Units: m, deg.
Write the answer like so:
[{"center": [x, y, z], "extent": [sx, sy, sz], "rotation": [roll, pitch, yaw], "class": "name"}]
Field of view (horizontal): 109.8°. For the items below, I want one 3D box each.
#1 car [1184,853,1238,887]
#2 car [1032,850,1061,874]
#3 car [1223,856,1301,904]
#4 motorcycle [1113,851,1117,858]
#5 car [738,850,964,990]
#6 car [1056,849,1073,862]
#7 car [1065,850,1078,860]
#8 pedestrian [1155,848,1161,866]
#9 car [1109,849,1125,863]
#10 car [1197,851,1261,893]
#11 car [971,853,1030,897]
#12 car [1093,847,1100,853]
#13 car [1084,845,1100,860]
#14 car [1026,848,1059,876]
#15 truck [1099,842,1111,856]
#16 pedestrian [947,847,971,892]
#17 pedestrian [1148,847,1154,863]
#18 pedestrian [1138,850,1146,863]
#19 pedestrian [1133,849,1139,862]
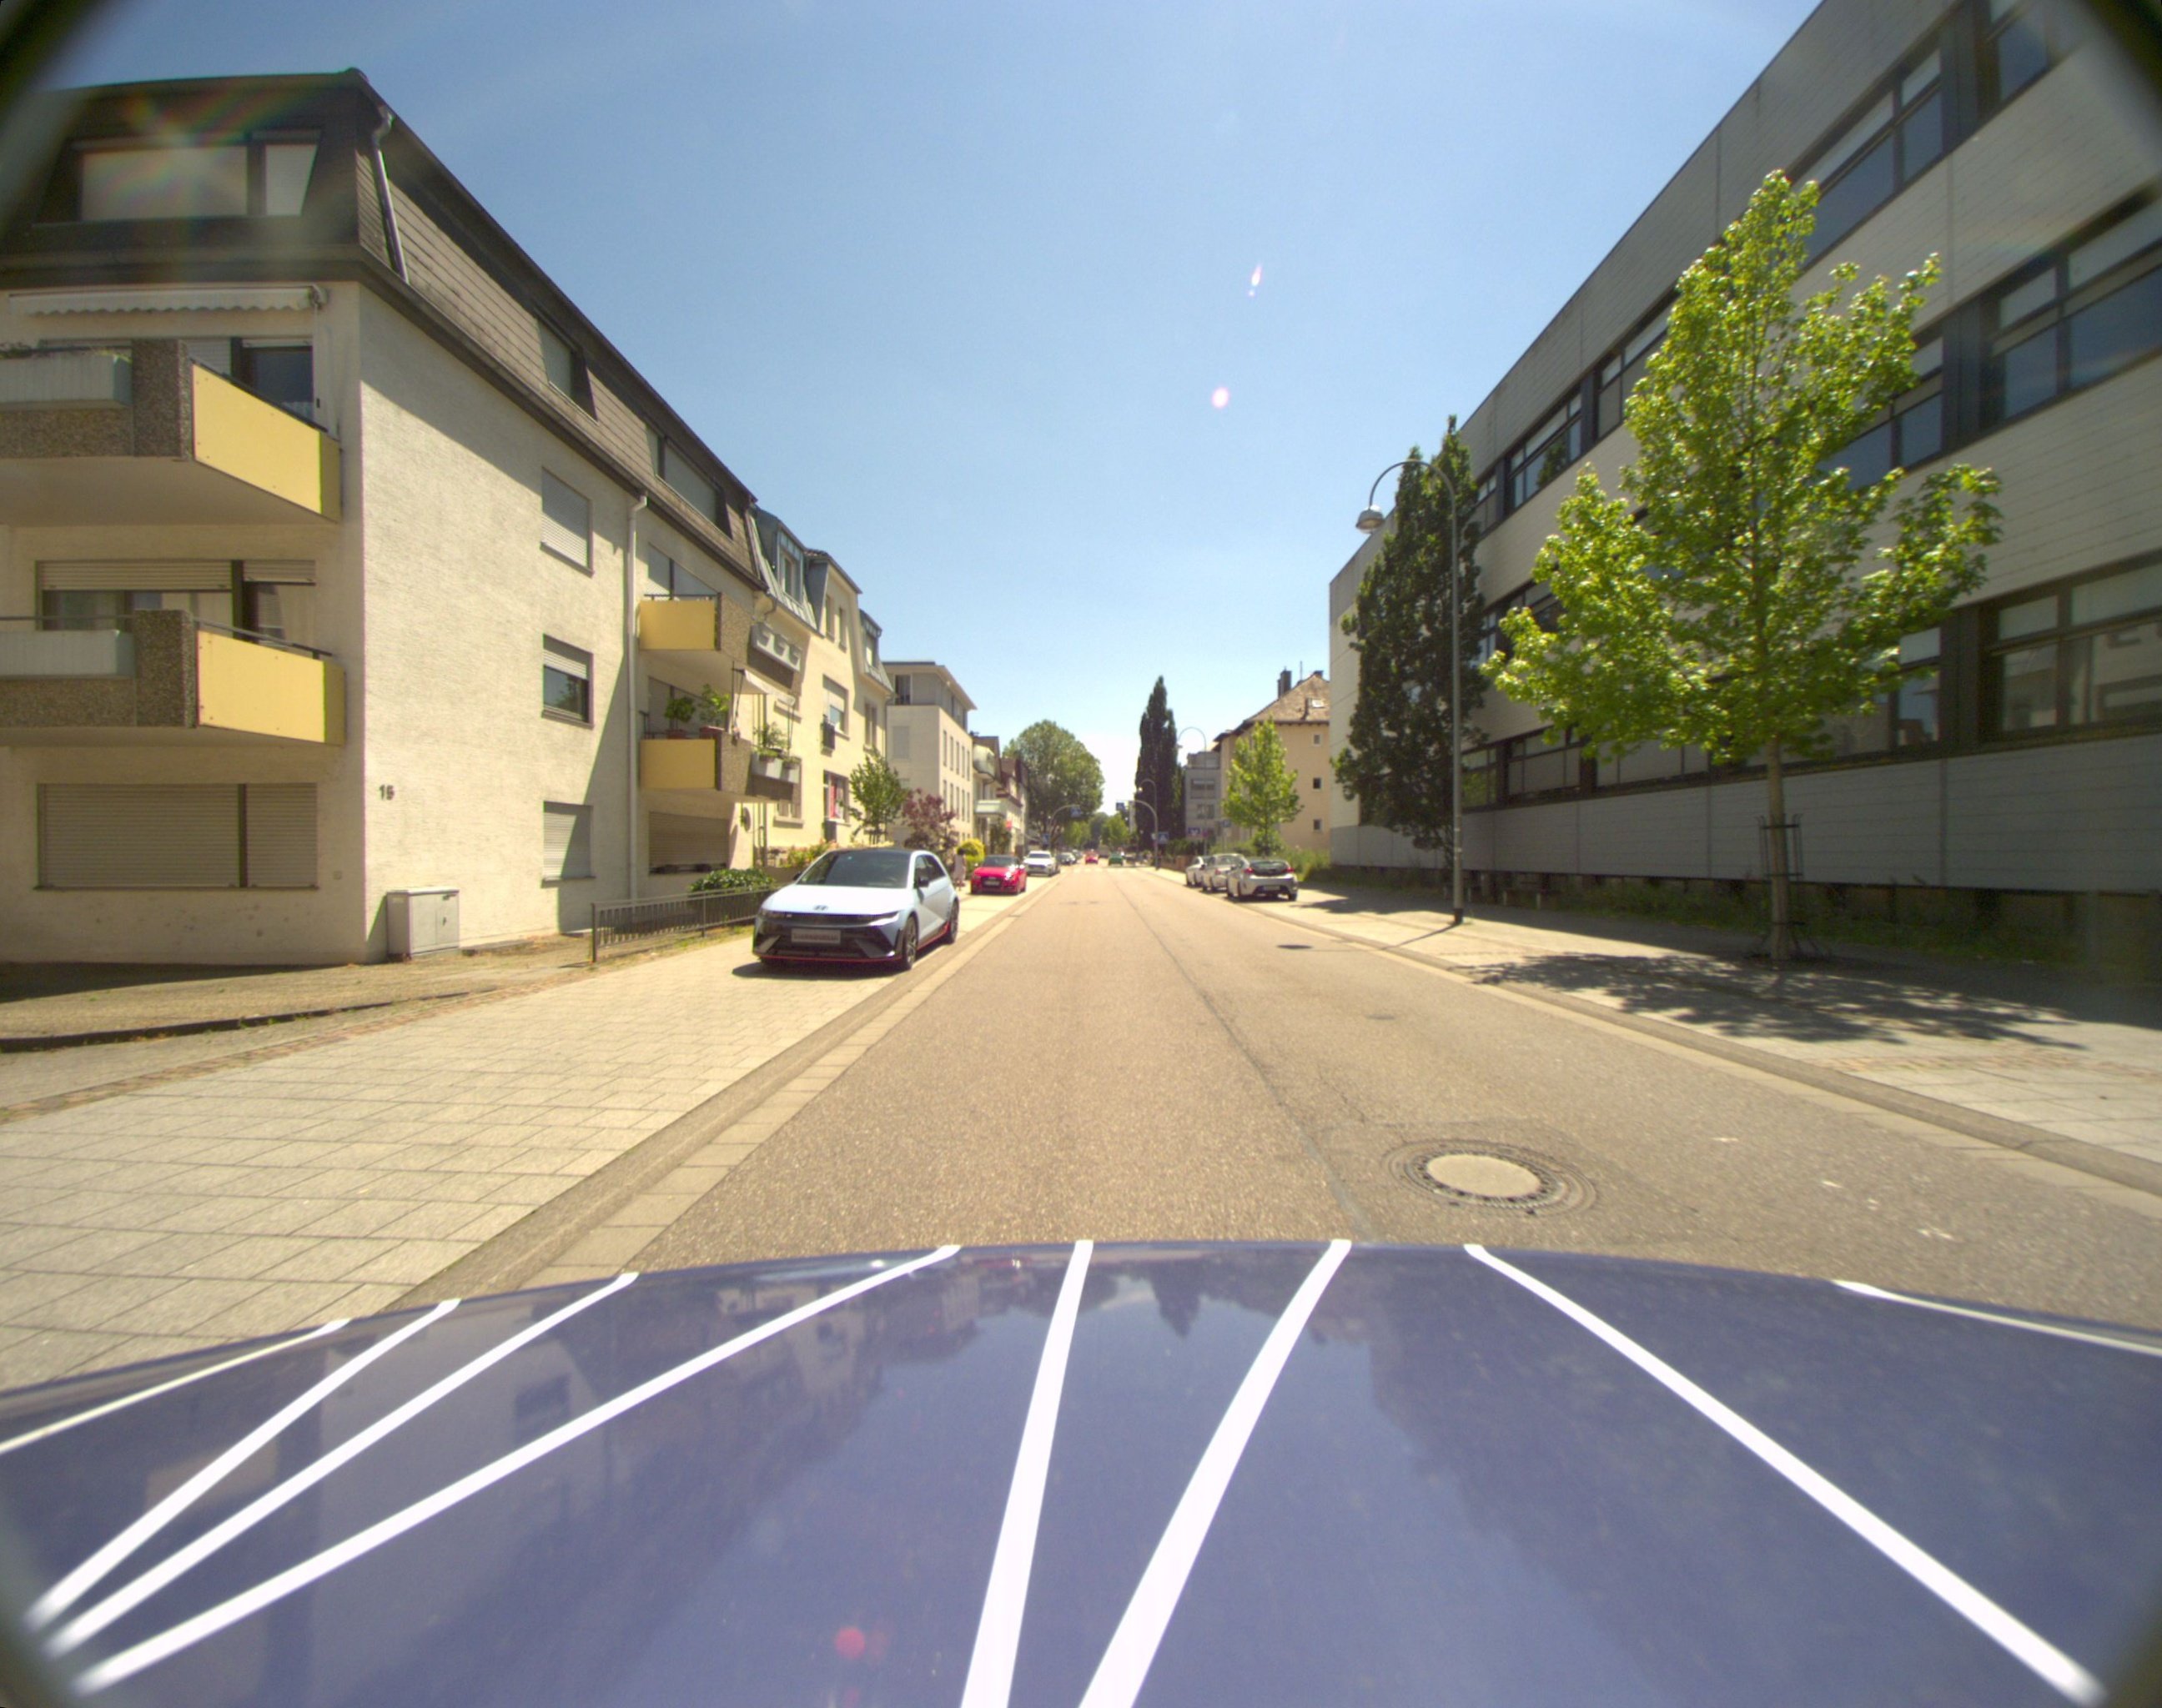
[{"center": [6.057, 0.695, 35.898], "extent": [1.827, 1.403, 4.577], "rotation": [-2, 0, 1], "class": "car"}, {"center": [-2.431, 0.546, 54.478], "extent": [1.709, 1.547, 4.748], "rotation": [3, 0, 1], "class": "car"}, {"center": [5.898, 0.806, 25.219], "extent": [1.752, 1.401, 3.933], "rotation": [-2, 0, 2], "class": "car"}, {"center": [5.065, 0.075, 113.191], "extent": [0.700, 1.101, 1.790], "rotation": [0, 1, 2], "class": "motorcycle"}, {"center": [-3.079, 0.771, 11.237], "extent": [1.848, 1.610, 4.427], "rotation": [2, 0, 2], "class": "car"}, {"center": [-1.889, 0.174, 89.273], "extent": [1.831, 1.418, 4.700], "rotation": [1, 1, 1], "class": "car"}, {"center": [-1.228, 0.127, 100.843], "extent": [1.561, 1.333, 4.173], "rotation": [1, 1, 1], "class": "car"}, {"center": [7.078, 0.286, 69.814], "extent": [0.538, 1.675, 0.708], "rotation": [-1, 1, 1], "class": "pedestrian"}, {"center": [4.447, 0.184, 92.787], "extent": [1.826, 1.579, 4.100], "rotation": [-3, 1, 3], "class": "car"}, {"center": [5.917, 0.688, 30.883], "extent": [1.827, 1.503, 4.289], "rotation": [-2, 0, 1], "class": "car"}, {"center": [-2.926, 0.722, 28.396], "extent": [1.607, 1.432, 3.853], "rotation": [3, 0, 2], "class": "car"}, {"center": [4.219, -1.181, 212.316], "extent": [1.732, 1.500, 4.292], "rotation": [-1, 2, -1], "class": "car"}, {"center": [1.435, -0.161, 100.076], "extent": [2.000, 1.880, 4.293], "rotation": [-2, 1, 1], "class": "car"}, {"center": [-2.475, 0.488, 49.502], "extent": [1.709, 1.656, 4.580], "rotation": [3, 1, 1], "class": "car"}, {"center": [5.155, -1.120, 164.909], "extent": [2.425, 2.966, 6.258], "rotation": [0, 0, 3], "class": "truck"}, {"center": [-4.627, 0.565, 28.773], "extent": [0.742, 1.660, 0.706], "rotation": [2, 1, 0], "class": "pedestrian"}, {"center": [7.432, 0.122, 80.721], "extent": [0.538, 1.675, 0.708], "rotation": [-1, 1, 1], "class": "pedestrian"}, {"center": [7.534, 0.325, 94.030], "extent": [0.847, 1.635, 0.751], "rotation": [-3, 1, 3], "class": "pedestrian"}, {"center": [7.396, 0.156, 102.092], "extent": [0.622, 1.667, 0.903], "rotation": [-3, 1, 0], "class": "pedestrian"}]
